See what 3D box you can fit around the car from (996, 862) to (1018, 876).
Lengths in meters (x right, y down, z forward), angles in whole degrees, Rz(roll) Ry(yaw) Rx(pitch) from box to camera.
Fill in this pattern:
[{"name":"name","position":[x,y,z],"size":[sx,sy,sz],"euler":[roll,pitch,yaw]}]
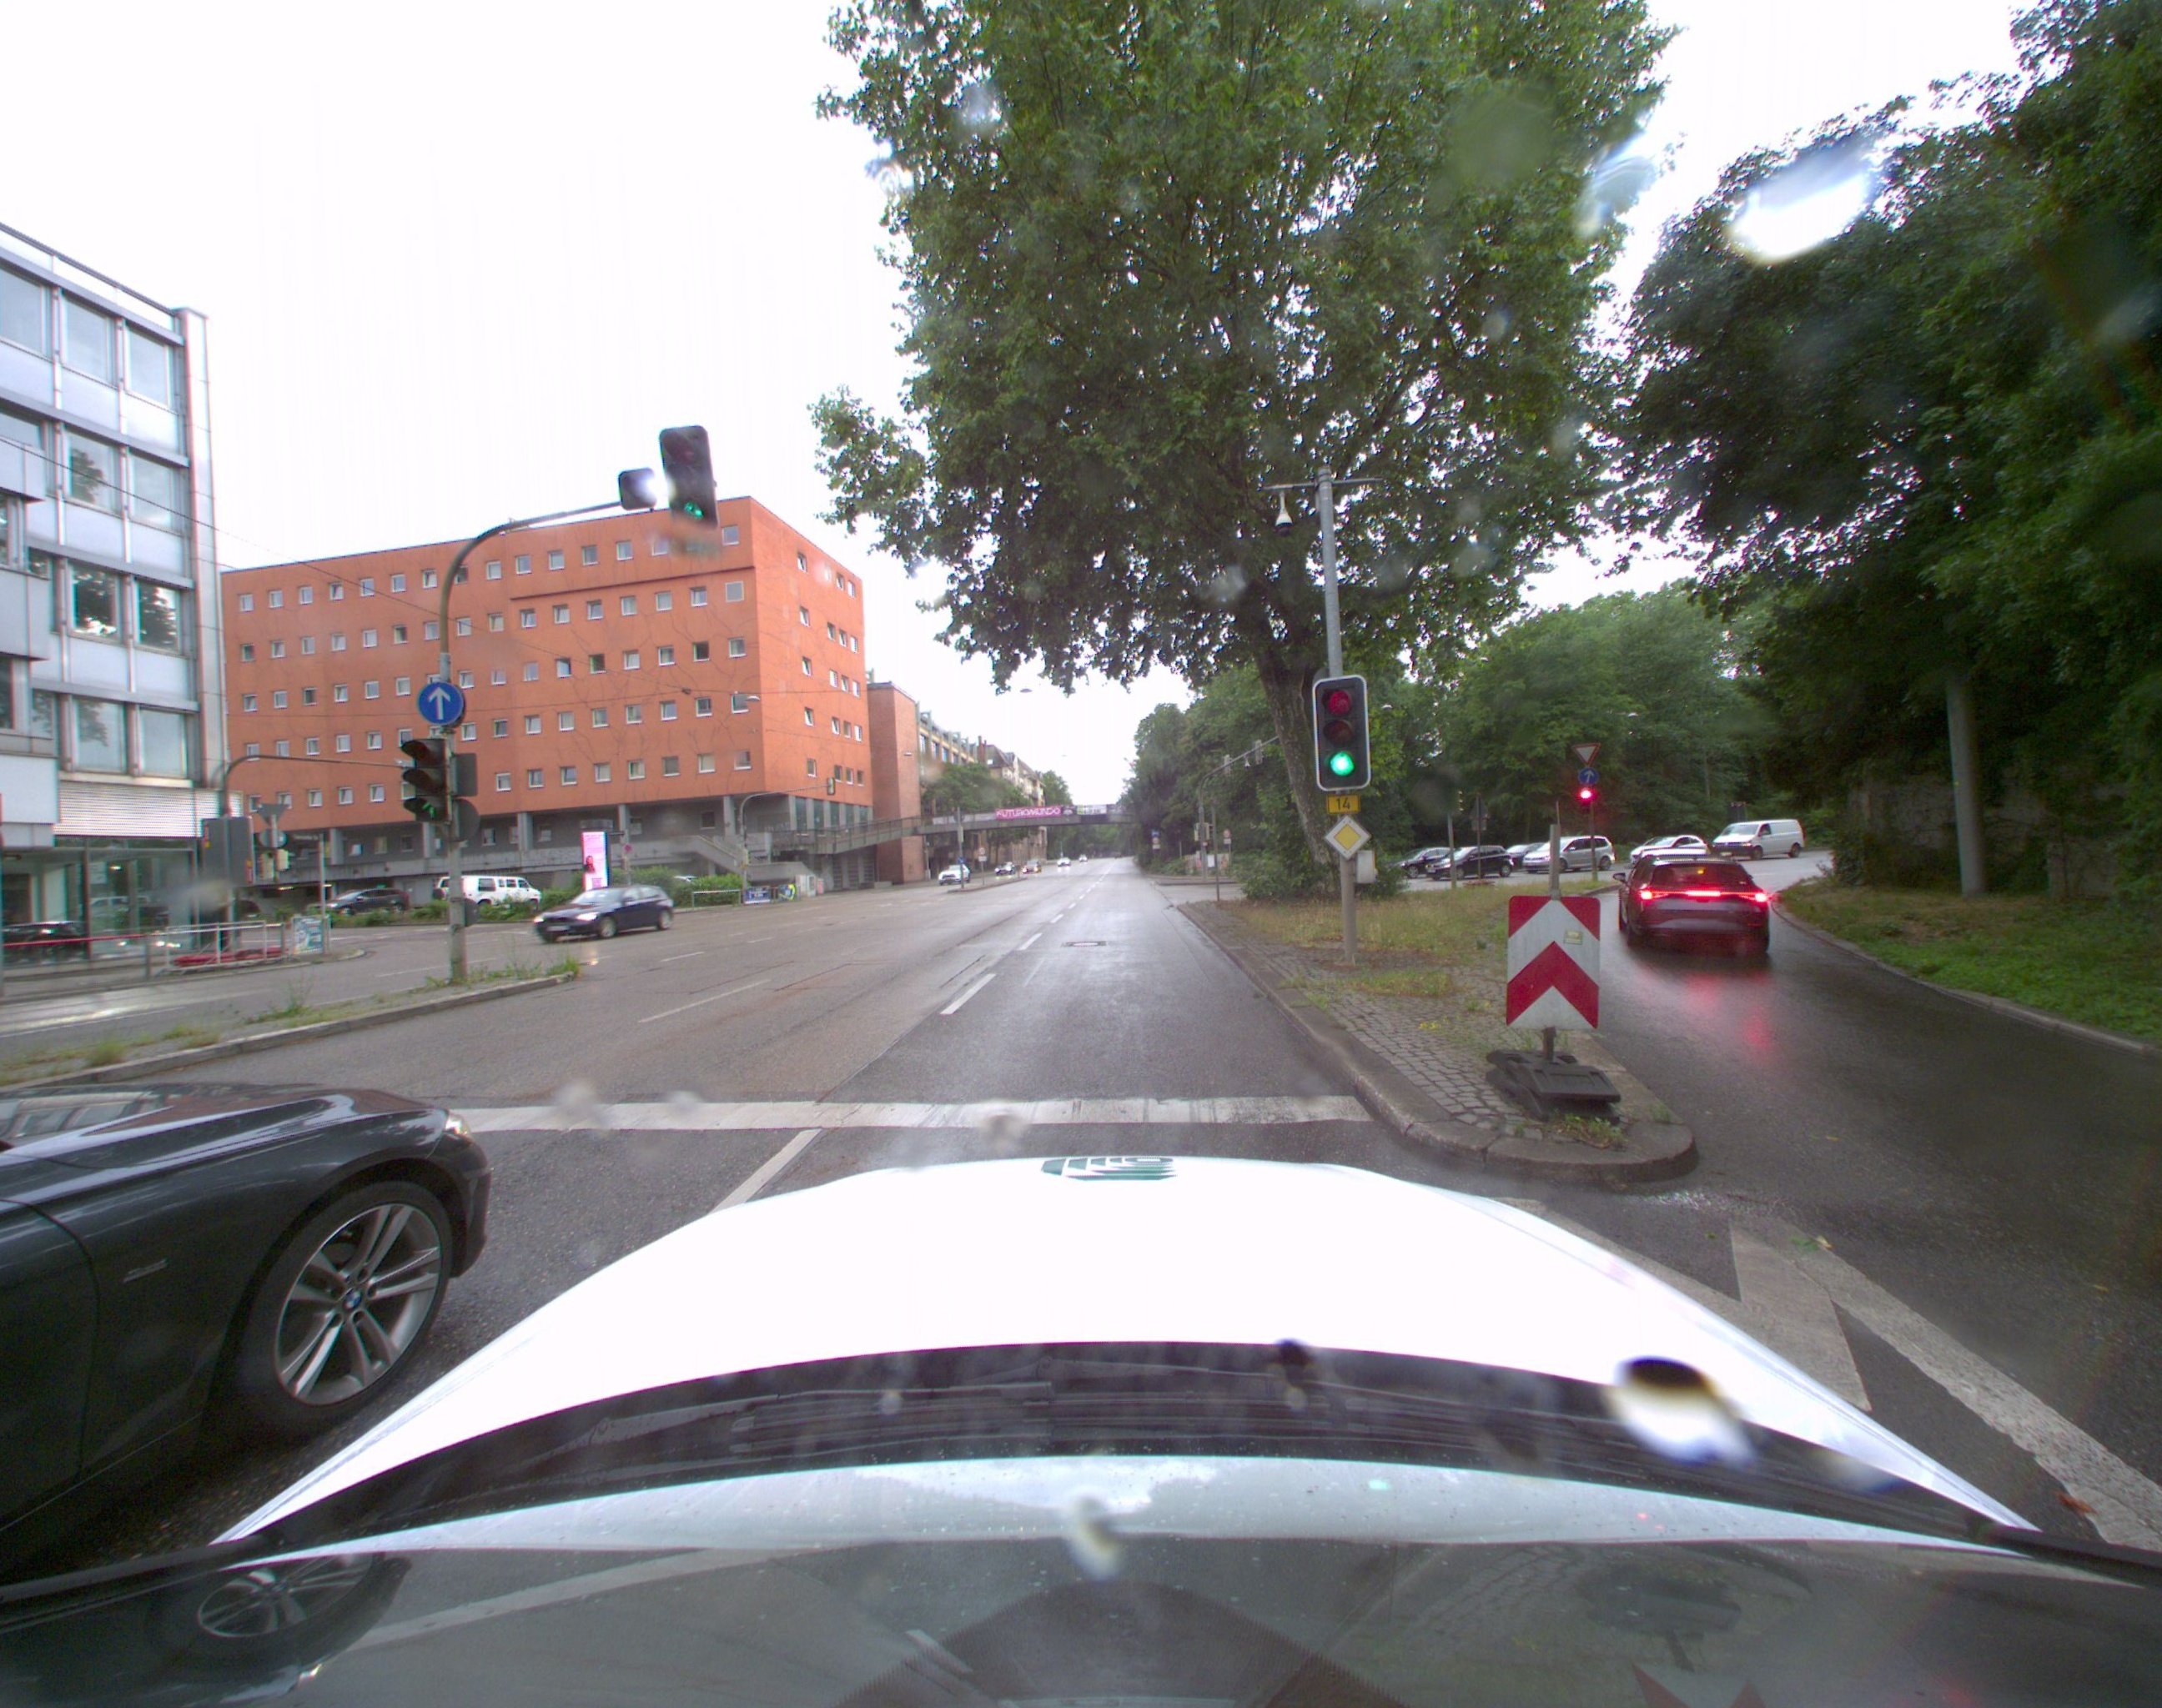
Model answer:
[{"name":"car","position":[-8.393,1.652,92.471],"size":[1.701,1.464,4.047],"euler":[-3,-1,5]}]

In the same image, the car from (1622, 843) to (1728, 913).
[{"name":"car","position":[14.360,0.485,19.753],"size":[1.834,1.448,4.648],"euler":[2,2,36]}]

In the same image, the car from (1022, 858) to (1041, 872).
[{"name":"car","position":[-5.559,1.198,92.124],"size":[1.676,1.436,3.866],"euler":[-3,-1,3]}]

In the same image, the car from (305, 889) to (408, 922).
[{"name":"car","position":[-40.253,2.823,45.364],"size":[1.699,1.612,4.097],"euler":[-1,-1,9]}]

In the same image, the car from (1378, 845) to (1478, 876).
[{"name":"car","position":[16.931,0.314,39.822],"size":[4.205,1.440,1.941],"euler":[0,-1,-14]}]

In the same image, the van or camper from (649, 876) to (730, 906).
[{"name":"van or camper","position":[-24.009,2.255,49.992],"size":[3.965,1.627,1.918],"euler":[-3,0,8]}]

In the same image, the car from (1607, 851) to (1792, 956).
[{"name":"car","position":[9.931,0.662,13.429],"size":[1.732,1.403,4.441],"euler":[1,1,28]}]

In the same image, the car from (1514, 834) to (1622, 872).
[{"name":"car","position":[22.574,-0.045,37.813],"size":[4.203,1.680,1.898],"euler":[0,-1,-14]}]

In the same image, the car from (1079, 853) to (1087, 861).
[{"name":"car","position":[0.446,0.681,174.634],"size":[1.594,1.499,3.715],"euler":[-4,-1,3]}]

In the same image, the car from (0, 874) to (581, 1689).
[{"name":"car","position":[-2.921,0.838,0.883],"size":[1.769,1.458,4.480],"euler":[-3,-1,3]}]

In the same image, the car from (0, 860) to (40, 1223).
[{"name":"car","position":[-5.998,0.848,1.685],"size":[1.801,1.656,4.449],"euler":[0,-1,4]}]

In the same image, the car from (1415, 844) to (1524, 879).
[{"name":"car","position":[17.162,0.318,36.025],"size":[4.192,1.460,1.784],"euler":[0,-1,-14]}]

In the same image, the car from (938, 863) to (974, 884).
[{"name":"car","position":[-10.282,1.595,67.242],"size":[1.881,1.610,4.461],"euler":[-3,-1,4]}]

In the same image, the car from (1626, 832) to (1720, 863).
[{"name":"car","position":[28.844,-0.298,39.714],"size":[3.857,1.461,1.650],"euler":[0,-1,-14]}]

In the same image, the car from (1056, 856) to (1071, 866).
[{"name":"car","position":[-2.755,1.072,128.192],"size":[1.823,1.393,4.409],"euler":[-4,-1,3]}]

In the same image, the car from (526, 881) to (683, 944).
[{"name":"car","position":[-13.330,1.572,23.109],"size":[1.678,1.419,4.219],"euler":[-4,-1,4]}]

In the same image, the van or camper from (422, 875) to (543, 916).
[{"name":"van or camper","position":[-32.835,2.226,44.921],"size":[2.113,1.977,5.466],"euler":[0,-1,9]}]

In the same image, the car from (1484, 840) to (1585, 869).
[{"name":"car","position":[22.905,0.036,41.206],"size":[4.438,1.402,1.821],"euler":[0,-1,-14]}]

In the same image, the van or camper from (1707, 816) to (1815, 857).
[{"name":"van or camper","position":[34.703,-0.876,41.578],"size":[4.861,1.947,1.896],"euler":[-1,-1,-17]}]

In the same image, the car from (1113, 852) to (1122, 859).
[{"name":"car","position":[9.193,0.265,204.595],"size":[1.996,1.643,4.379],"euler":[-3,0,3]}]
